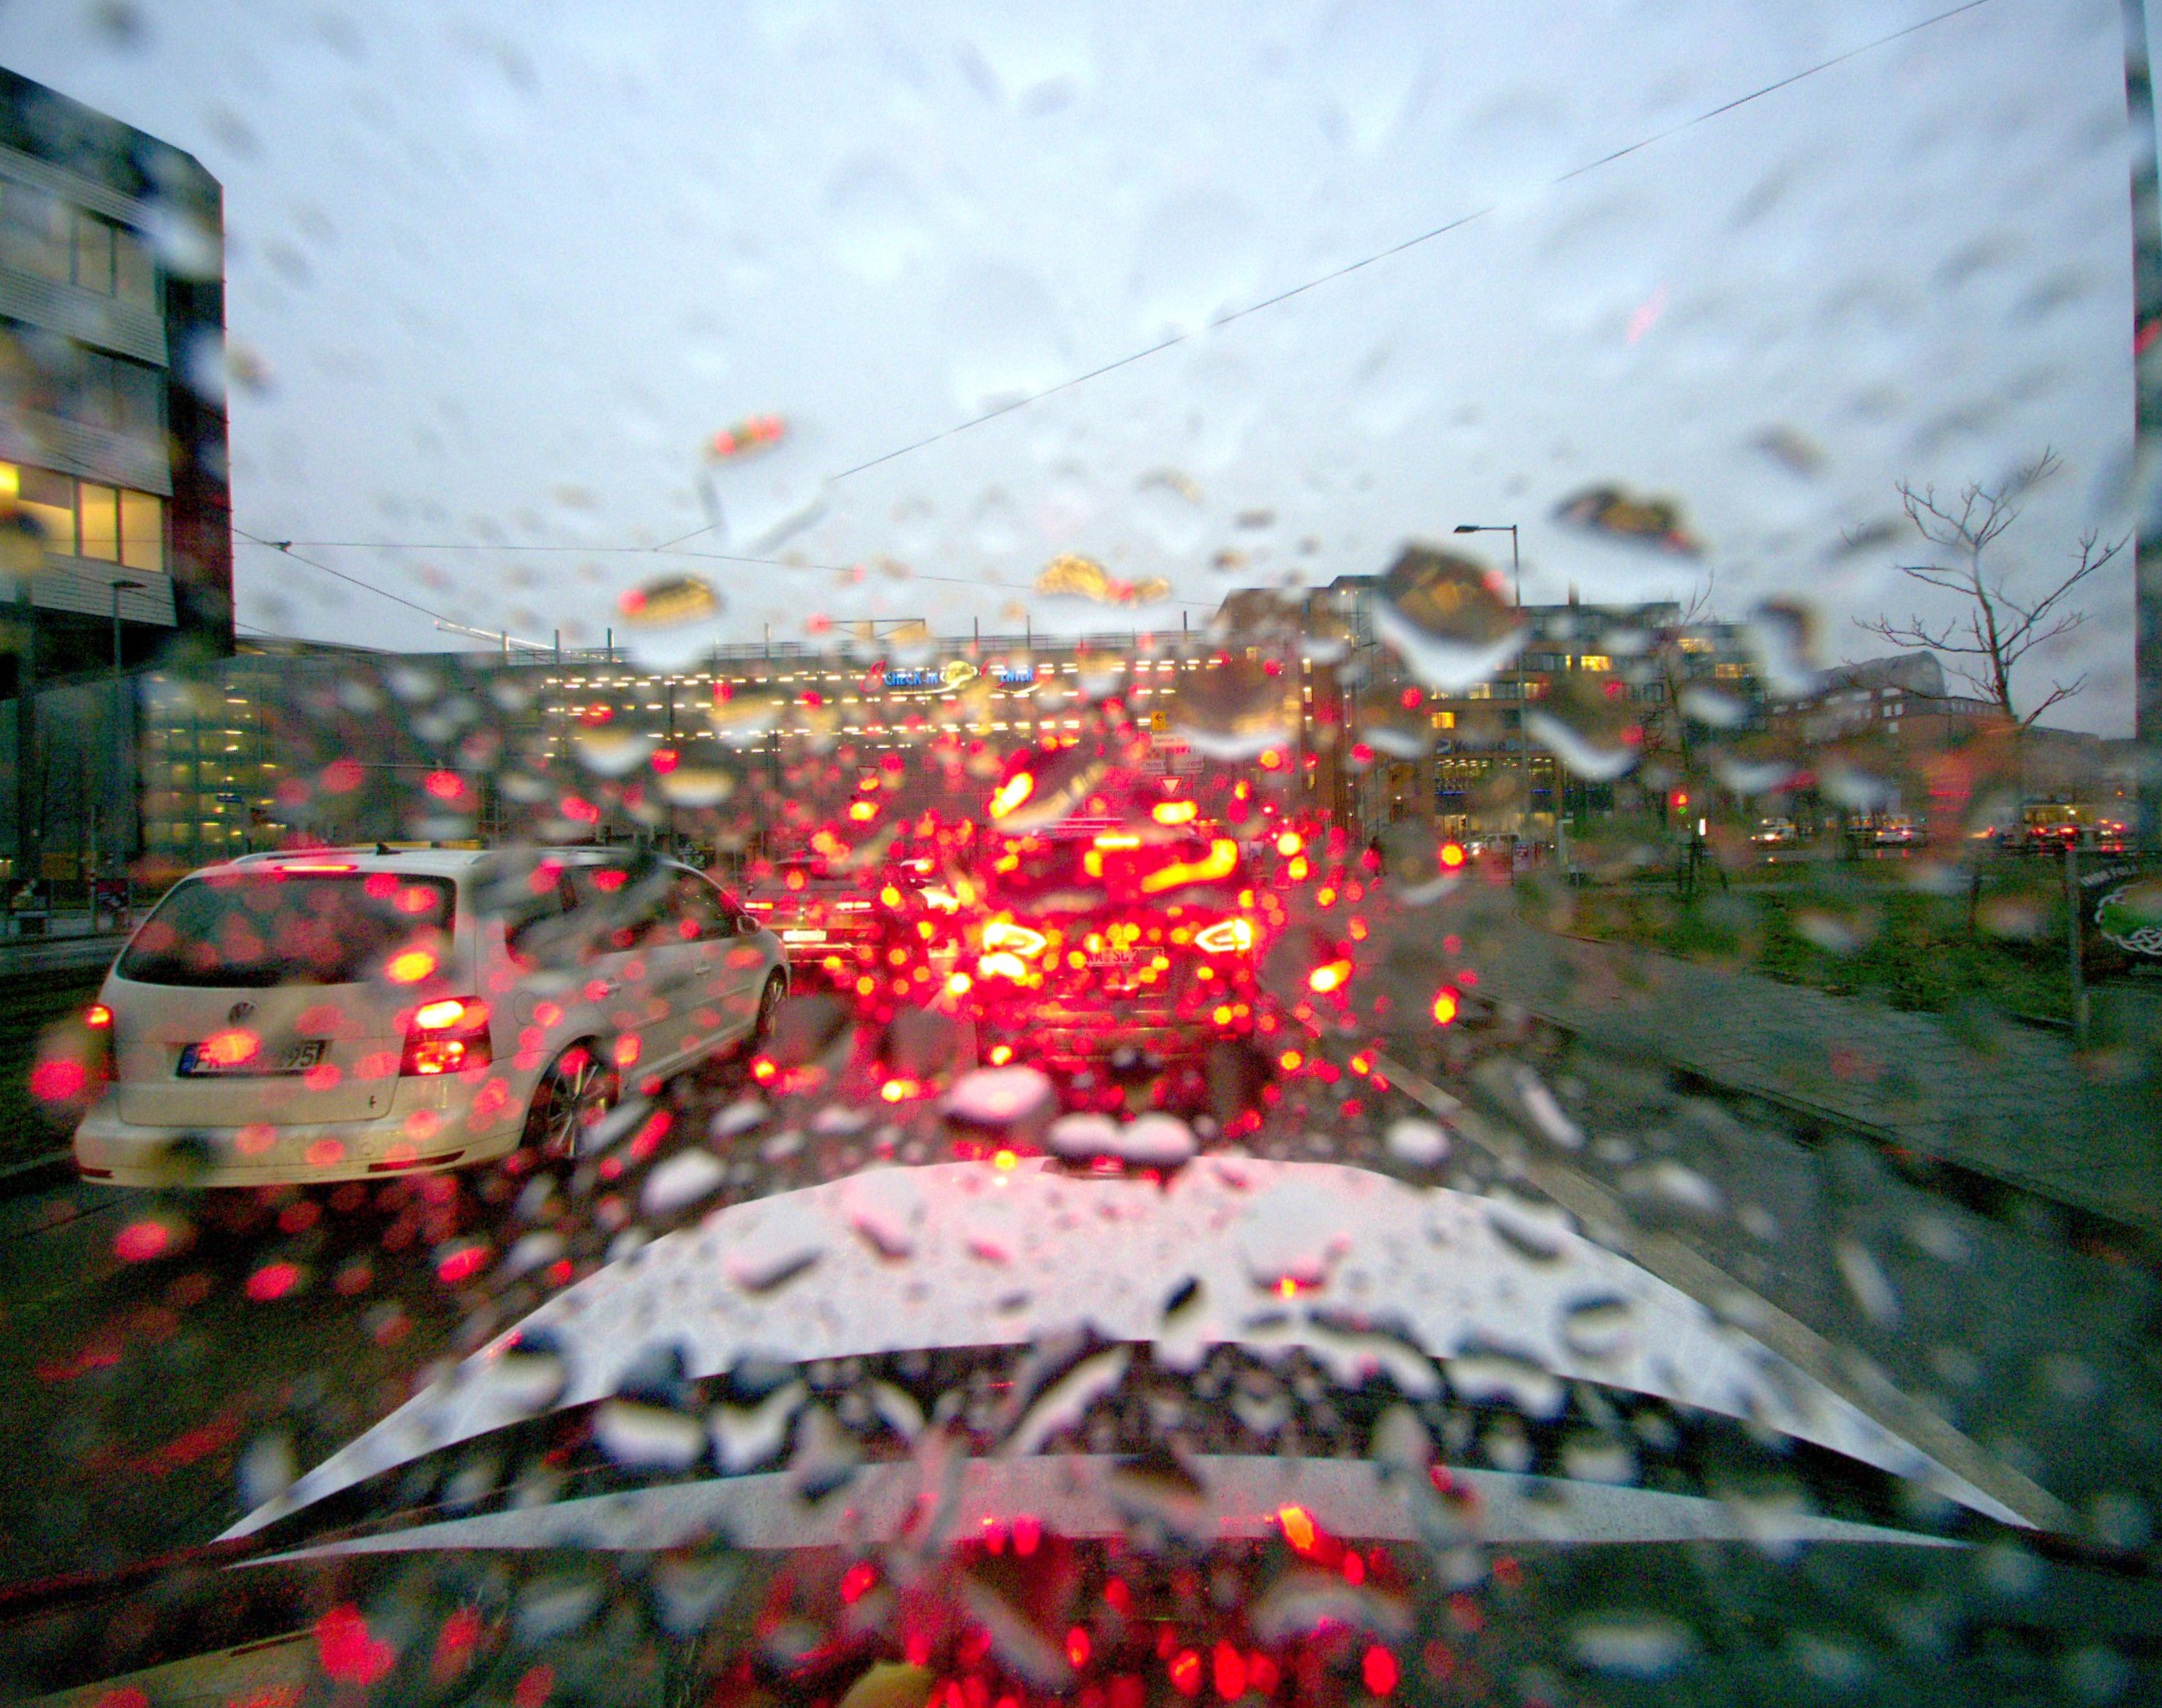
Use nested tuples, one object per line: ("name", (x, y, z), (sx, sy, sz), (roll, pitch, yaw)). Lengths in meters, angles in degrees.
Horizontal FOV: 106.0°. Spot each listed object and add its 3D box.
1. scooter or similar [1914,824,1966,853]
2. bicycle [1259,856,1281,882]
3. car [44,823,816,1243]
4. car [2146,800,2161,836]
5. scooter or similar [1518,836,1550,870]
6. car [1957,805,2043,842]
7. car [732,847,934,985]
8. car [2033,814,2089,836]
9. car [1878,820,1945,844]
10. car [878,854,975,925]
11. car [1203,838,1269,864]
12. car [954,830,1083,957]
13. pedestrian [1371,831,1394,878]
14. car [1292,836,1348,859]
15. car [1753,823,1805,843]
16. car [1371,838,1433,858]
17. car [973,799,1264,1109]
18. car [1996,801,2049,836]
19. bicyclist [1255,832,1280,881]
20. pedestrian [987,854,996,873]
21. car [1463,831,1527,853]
("scooter or similar", (36.424, -0.658, 34.552), (1.548, 1.227, 0.669), (0, -1, -4))
("bicycle", (7.356, 0.573, 31.789), (0.651, 0.973, 1.870), (-2, 0, 8))
("car", (-3.257, 0.700, 5.340), (1.666, 1.599, 4.221), (-2, 0, -1))
("car", (87.565, -2.897, 64.281), (6.356, 2.827, 2.348), (-2, 0, -19))
("scooter or similar", (16.964, -0.041, 30.486), (1.312, 1.206, 0.331), (-2, 0, -27))
("car", (64.881, -2.176, 57.503), (5.975, 2.427, 1.986), (-2, 0, -20))
("car", (-3.322, 0.731, 11.822), (1.817, 1.570, 4.355), (-2, 0, -4))
("car", (71.466, -2.116, 59.376), (3.470, 1.520, 1.513), (-1, 0, -19))
("car", (56.386, -1.484, 55.289), (3.681, 1.496, 1.635), (-2, 0, -17))
("car", (-3.584, 0.763, 19.482), (1.754, 1.463, 3.912), (-1, 0, -4))
("car", (12.451, -0.226, 65.550), (4.936, 1.871, 1.903), (-2, 0, -4))
("car", (-1.017, 0.562, 14.143), (1.839, 1.806, 4.482), (-2, 0, -3))
("pedestrian", (12.263, 0.024, 33.088), (0.766, 1.877, 0.639), (-2, 0, 24))
("car", (21.285, -0.593, 72.611), (4.351, 1.871, 1.902), (-2, 0, -5))
("car", (65.626, -1.983, 76.542), (4.616, 1.719, 1.914), (-2, 0, -24))
("car", (26.416, -0.507, 67.081), (4.320, 1.486, 1.863), (-2, 0, -5))
("car", (0.266, 0.567, 6.679), (1.668, 1.779, 4.001), (0, 0, 1))
("car", (82.568, -3.099, 71.394), (6.386, 2.827, 2.337), (-2, 0, -35))
("bicyclist", (7.266, 0.094, 31.733), (0.786, 1.890, 0.991), (-2, 0, 7))
("pedestrian", (-8.580, 0.919, 78.148), (0.786, 1.787, 0.732), (-2, 0, -3))
("car", (34.766, -1.003, 68.413), (4.637, 1.677, 1.780), (-2, 0, -10))
